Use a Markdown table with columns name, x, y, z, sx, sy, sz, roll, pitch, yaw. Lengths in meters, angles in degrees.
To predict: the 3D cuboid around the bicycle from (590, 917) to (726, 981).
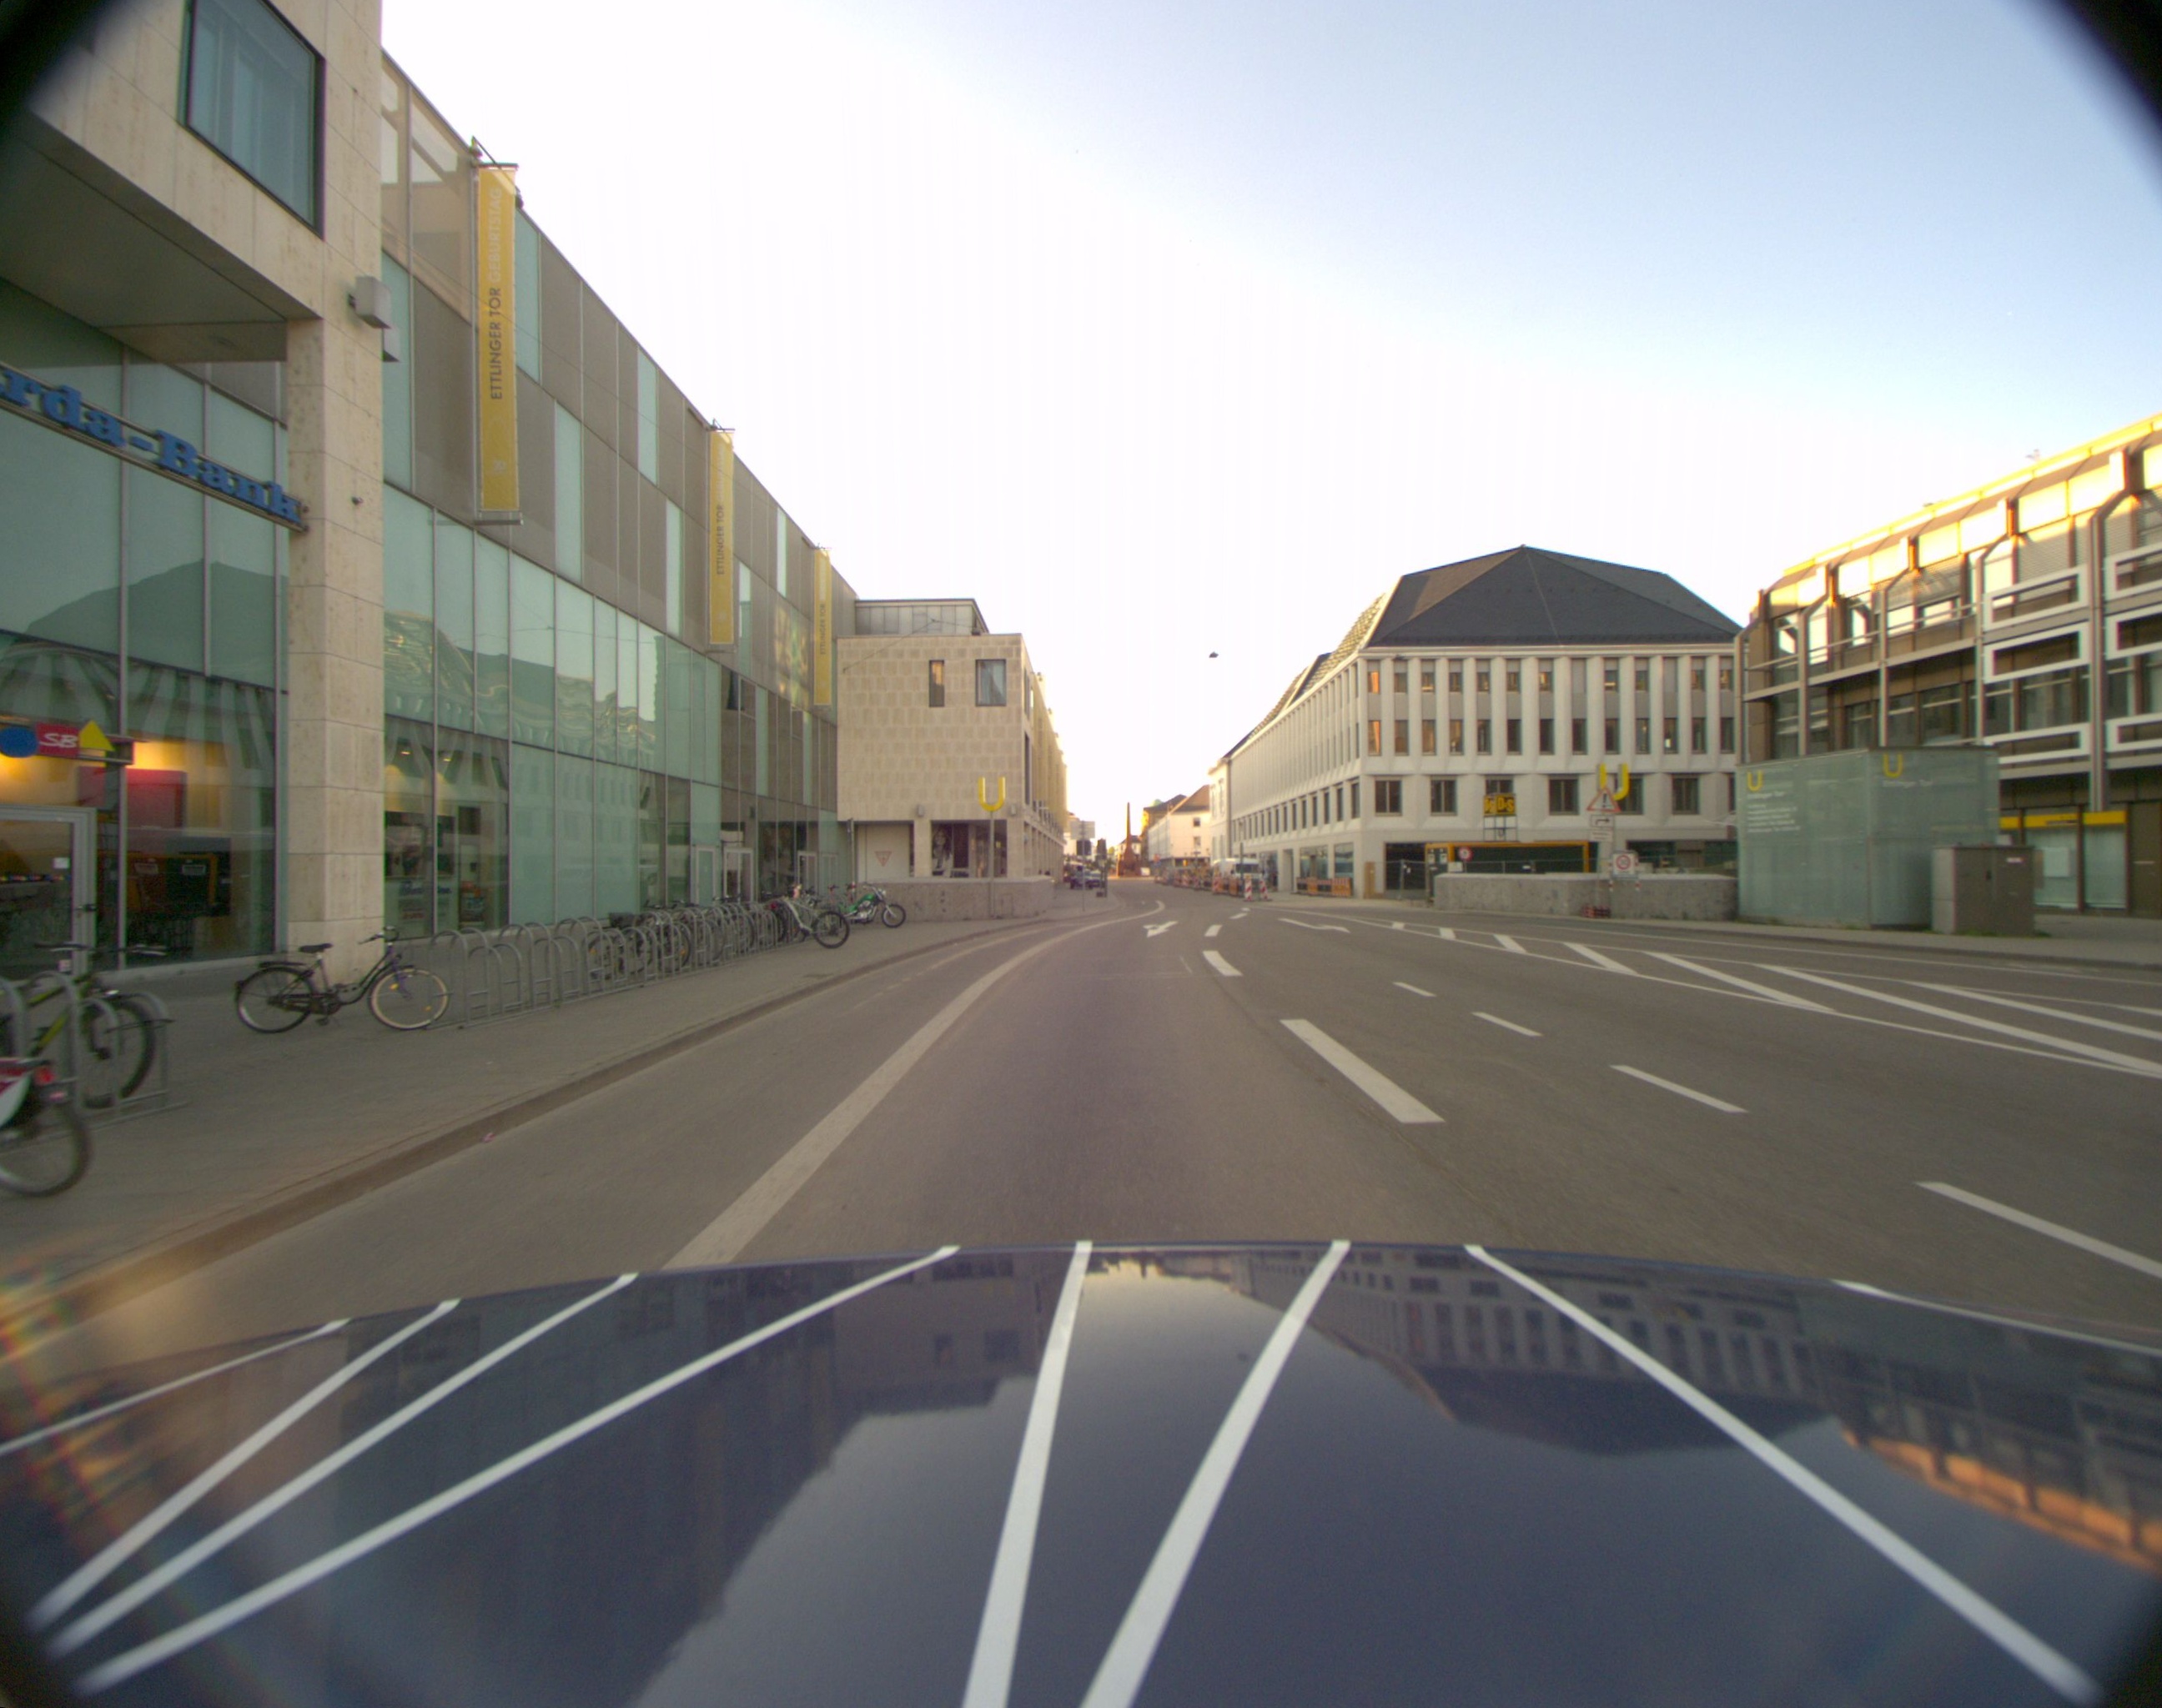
| name | x | y | z | sx | sy | sz | roll | pitch | yaw |
| --- | --- | --- | --- | --- | --- | --- | --- | --- | --- |
| bicycle | -6.543 | 1.468 | 11.803 | 1.812 | 0.931 | 0.516 | 0 | 0 | 0 |

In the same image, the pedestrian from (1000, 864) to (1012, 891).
| name | x | y | z | sx | sy | sz | roll | pitch | yaw |
| --- | --- | --- | --- | --- | --- | --- | --- | --- | --- |
| pedestrian | -4.450 | 1.404 | 45.163 | 0.635 | 1.558 | 0.775 | 0 | -2 | 0 |

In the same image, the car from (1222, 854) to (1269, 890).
| name | x | y | z | sx | sy | sz | roll | pitch | yaw |
| --- | --- | --- | --- | --- | --- | --- | --- | --- | --- |
| car | 11.942 | 1.265 | 55.689 | 2.179 | 2.455 | 6.000 | -1 | -1 | 1 |

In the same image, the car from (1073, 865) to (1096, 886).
| name | x | y | z | sx | sy | sz | roll | pitch | yaw |
| --- | --- | --- | --- | --- | --- | --- | --- | --- | --- |
| car | 0.304 | 1.787 | 64.308 | 1.772 | 1.628 | 4.058 | 3 | 0 | 1 |

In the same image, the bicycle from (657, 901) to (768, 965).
| name | x | y | z | sx | sy | sz | roll | pitch | yaw |
| --- | --- | --- | --- | --- | --- | --- | --- | --- | --- |
| bicycle | -6.670 | 1.421 | 13.781 | 1.768 | 1.123 | 0.516 | 0 | 0 | 4 |

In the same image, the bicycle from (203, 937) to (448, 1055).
| name | x | y | z | sx | sy | sz | roll | pitch | yaw |
| --- | --- | --- | --- | --- | --- | --- | --- | --- | --- |
| bicycle | -7.544 | 1.397 | 7.654 | 1.708 | 1.017 | 0.600 | 0 | 0 | -10 |

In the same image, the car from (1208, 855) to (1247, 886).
| name | x | y | z | sx | sy | sz | roll | pitch | yaw |
| --- | --- | --- | --- | --- | --- | --- | --- | --- | --- |
| car | 12.070 | 1.347 | 63.142 | 2.179 | 2.455 | 6.000 | -1 | -1 | 1 |

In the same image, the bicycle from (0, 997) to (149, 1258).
| name | x | y | z | sx | sy | sz | roll | pitch | yaw |
| --- | --- | --- | --- | --- | --- | --- | --- | --- | --- |
| bicycle | -5.615 | 1.269 | 3.585 | 1.902 | 1.041 | 0.571 | -2 | 0 | 6 |

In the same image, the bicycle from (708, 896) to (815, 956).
| name | x | y | z | sx | sy | sz | roll | pitch | yaw |
| --- | --- | --- | --- | --- | --- | --- | --- | --- | --- |
| bicycle | -6.673 | 1.492 | 15.880 | 1.992 | 1.123 | 0.556 | -3 | -1 | 6 |

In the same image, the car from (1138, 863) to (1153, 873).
| name | x | y | z | sx | sy | sz | roll | pitch | yaw |
| --- | --- | --- | --- | --- | --- | --- | --- | --- | --- |
| car | 12.413 | 2.702 | 146.423 | 2.021 | 1.815 | 4.458 | 0 | -1 | -5 |

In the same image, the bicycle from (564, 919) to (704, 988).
| name | x | y | z | sx | sy | sz | roll | pitch | yaw |
| --- | --- | --- | --- | --- | --- | --- | --- | --- | --- |
| bicycle | -6.545 | 1.451 | 11.166 | 1.743 | 0.931 | 0.516 | 0 | 0 | 0 |

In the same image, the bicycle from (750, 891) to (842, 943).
| name | x | y | z | sx | sy | sz | roll | pitch | yaw |
| --- | --- | --- | --- | --- | --- | --- | --- | --- | --- |
| bicycle | -6.685 | 1.469 | 17.852 | 1.992 | 1.172 | 0.517 | 0 | 0 | 6 |

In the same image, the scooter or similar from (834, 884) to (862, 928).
| name | x | y | z | sx | sy | sz | roll | pitch | yaw |
| --- | --- | --- | --- | --- | --- | --- | --- | --- | --- |
| scooter or similar | -6.991 | 1.554 | 22.837 | 0.398 | 1.249 | 0.870 | -1 | 0 | 12 |

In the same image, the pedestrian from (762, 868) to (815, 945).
| name | x | y | z | sx | sy | sz | roll | pitch | yaw |
| --- | --- | --- | --- | --- | --- | --- | --- | --- | --- |
| pedestrian | -6.746 | 1.188 | 17.549 | 0.837 | 1.725 | 0.820 | 0 | 0 | 9 |

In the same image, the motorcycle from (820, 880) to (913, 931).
| name | x | y | z | sx | sy | sz | roll | pitch | yaw |
| --- | --- | --- | --- | --- | --- | --- | --- | --- | --- |
| motorcycle | -5.861 | 1.411 | 20.889 | 2.304 | 1.325 | 0.907 | 0 | 0 | -2 |

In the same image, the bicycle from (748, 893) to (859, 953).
| name | x | y | z | sx | sy | sz | roll | pitch | yaw |
| --- | --- | --- | --- | --- | --- | --- | --- | --- | --- |
| bicycle | -5.459 | 1.347 | 14.969 | 1.992 | 1.123 | 0.571 | 0 | 0 | 6 |

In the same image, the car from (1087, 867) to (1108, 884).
| name | x | y | z | sx | sy | sz | roll | pitch | yaw |
| --- | --- | --- | --- | --- | --- | --- | --- | --- | --- |
| car | 1.578 | 2.031 | 72.688 | 1.799 | 1.481 | 4.193 | 3 | 0 | 1 |

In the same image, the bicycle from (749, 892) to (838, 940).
| name | x | y | z | sx | sy | sz | roll | pitch | yaw |
| --- | --- | --- | --- | --- | --- | --- | --- | --- | --- |
| bicycle | -6.973 | 1.498 | 18.448 | 1.992 | 1.123 | 0.517 | 0 | 0 | 6 |

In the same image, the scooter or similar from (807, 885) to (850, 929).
| name | x | y | z | sx | sy | sz | roll | pitch | yaw |
| --- | --- | --- | --- | --- | --- | --- | --- | --- | --- |
| scooter or similar | -7.600 | 1.573 | 22.879 | 1.119 | 1.249 | 0.398 | -1 | 0 | -37 |

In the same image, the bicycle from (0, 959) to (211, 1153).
| name | x | y | z | sx | sy | sz | roll | pitch | yaw |
| --- | --- | --- | --- | --- | --- | --- | --- | --- | --- |
| bicycle | -6.880 | 1.301 | 5.003 | 1.820 | 1.093 | 0.601 | -3 | -1 | 9 |
